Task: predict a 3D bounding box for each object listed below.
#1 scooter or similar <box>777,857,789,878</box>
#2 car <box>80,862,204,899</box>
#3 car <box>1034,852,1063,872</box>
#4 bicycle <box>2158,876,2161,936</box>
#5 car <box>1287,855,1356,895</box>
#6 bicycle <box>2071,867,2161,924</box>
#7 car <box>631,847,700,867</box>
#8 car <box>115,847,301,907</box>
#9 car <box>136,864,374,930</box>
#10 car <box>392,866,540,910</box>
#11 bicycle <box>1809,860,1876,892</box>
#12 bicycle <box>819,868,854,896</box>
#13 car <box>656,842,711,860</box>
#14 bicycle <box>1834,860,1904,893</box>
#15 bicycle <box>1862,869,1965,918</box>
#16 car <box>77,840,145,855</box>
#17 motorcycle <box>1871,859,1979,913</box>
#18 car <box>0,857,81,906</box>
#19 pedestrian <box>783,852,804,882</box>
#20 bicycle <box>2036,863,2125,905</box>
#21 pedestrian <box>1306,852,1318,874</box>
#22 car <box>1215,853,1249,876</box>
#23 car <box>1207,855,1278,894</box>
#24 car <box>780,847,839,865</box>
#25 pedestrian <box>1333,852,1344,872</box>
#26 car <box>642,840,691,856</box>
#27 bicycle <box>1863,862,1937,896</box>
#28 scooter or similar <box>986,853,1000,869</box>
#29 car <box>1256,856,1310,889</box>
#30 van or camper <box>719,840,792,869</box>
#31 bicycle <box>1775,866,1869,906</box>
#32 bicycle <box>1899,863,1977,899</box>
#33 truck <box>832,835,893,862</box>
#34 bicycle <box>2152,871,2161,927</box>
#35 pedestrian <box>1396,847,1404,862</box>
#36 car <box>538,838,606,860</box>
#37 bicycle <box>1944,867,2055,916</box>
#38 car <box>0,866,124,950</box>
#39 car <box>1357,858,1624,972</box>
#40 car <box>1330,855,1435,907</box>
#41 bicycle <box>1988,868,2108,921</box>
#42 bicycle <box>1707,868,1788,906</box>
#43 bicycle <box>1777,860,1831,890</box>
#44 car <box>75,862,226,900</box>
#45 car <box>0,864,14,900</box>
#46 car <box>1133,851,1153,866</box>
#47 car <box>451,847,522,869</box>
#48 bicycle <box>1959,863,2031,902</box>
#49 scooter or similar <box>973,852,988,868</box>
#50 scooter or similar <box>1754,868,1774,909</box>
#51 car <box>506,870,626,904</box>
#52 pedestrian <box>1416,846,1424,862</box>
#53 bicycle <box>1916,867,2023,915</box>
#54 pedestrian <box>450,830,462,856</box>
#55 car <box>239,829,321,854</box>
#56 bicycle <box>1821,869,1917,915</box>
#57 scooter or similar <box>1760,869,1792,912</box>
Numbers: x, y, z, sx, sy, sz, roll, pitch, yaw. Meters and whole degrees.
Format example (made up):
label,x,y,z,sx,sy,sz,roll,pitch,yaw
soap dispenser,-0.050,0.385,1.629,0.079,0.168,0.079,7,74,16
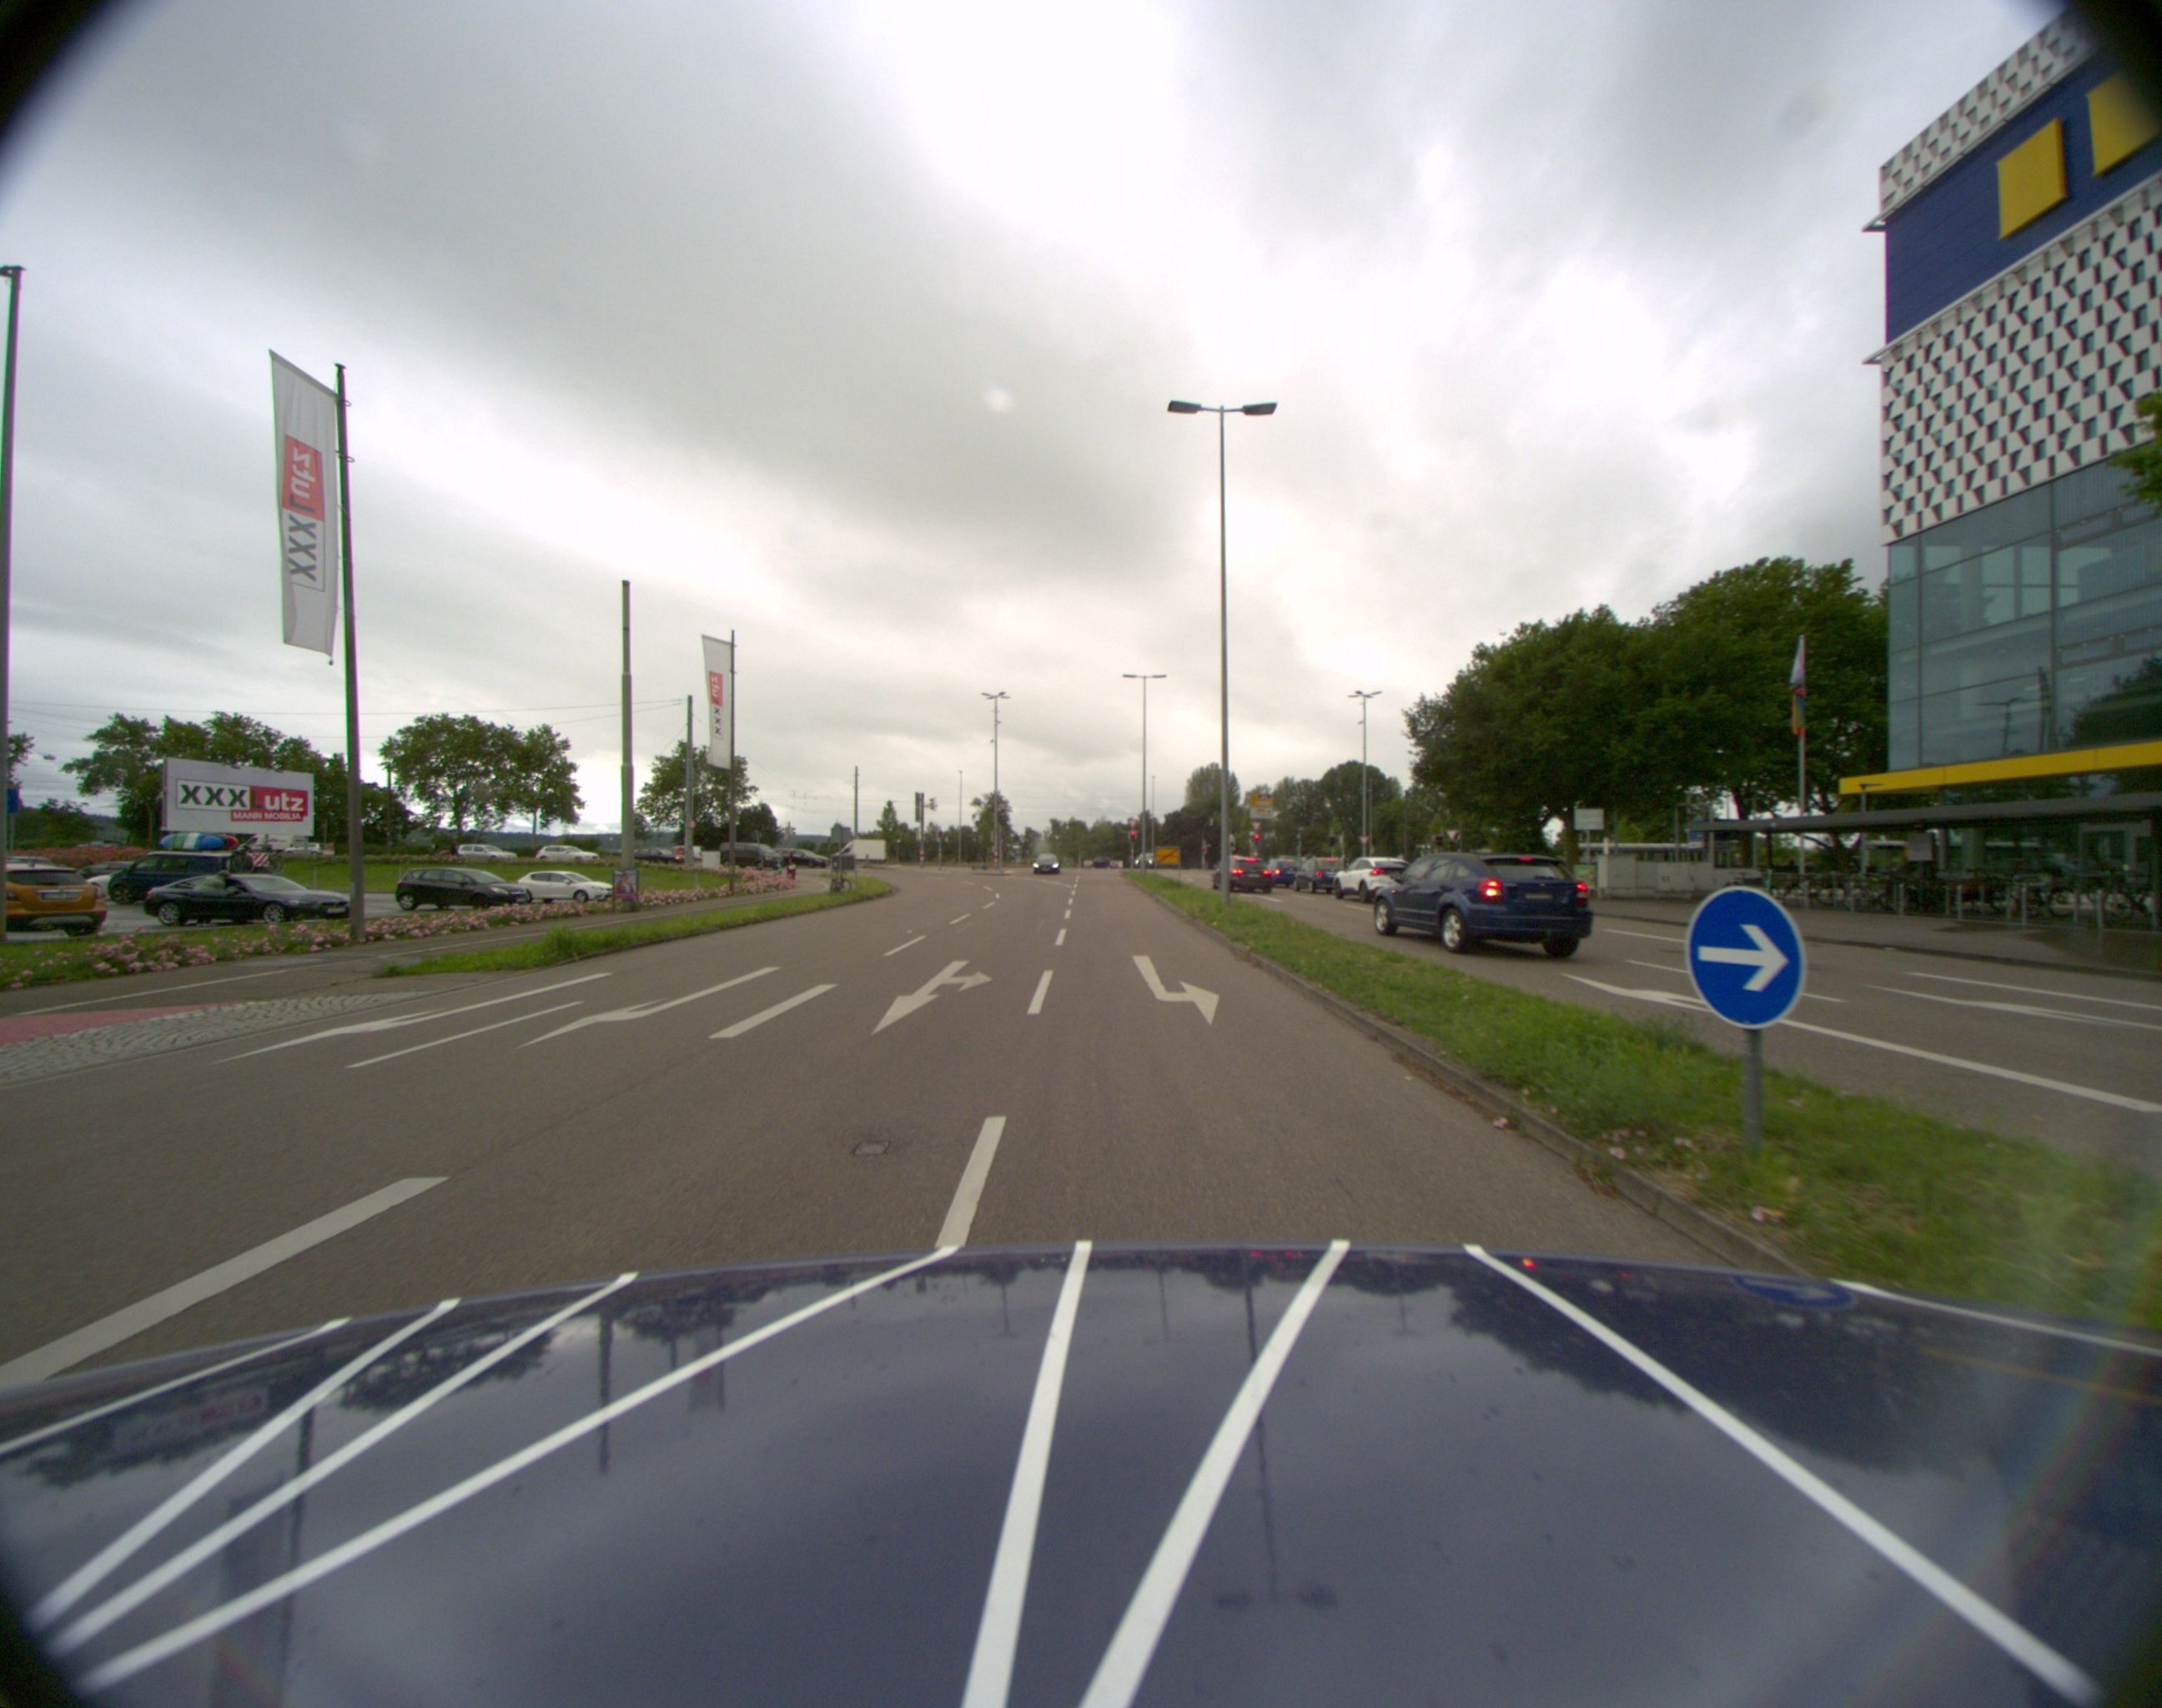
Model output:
label,x,y,z,sx,sy,sz,roll,pitch,yaw
scooter or similar,-17.725,0.785,45.183,0.347,1.226,1.162,-3,2,-37
car,-47.775,1.321,38.708,3.996,1.746,1.915,-1,0,2
car,-2.415,0.557,56.905,1.999,1.383,4.343,0,0,-1
bicycle,21.488,0.954,13.970,2.018,1.150,0.594,-2,0,15
car,10.128,0.831,32.305,1.606,1.489,4.037,2,1,0
bicycle,23.353,0.908,16.822,2.020,1.150,0.594,-2,0,1
car,-32.029,0.245,58.595,4.316,1.455,1.970,1,0,6
car,-33.064,0.821,28.864,5.045,2.152,2.123,0,1,6
car,-22.946,1.160,21.241,4.538,1.575,1.768,-1,4,-1
car,-23.182,1.279,28.764,4.103,1.573,1.770,0,-1,-2
bicycle,29.591,0.847,29.531,2.021,1.150,0.593,-2,0,-1
bicycle,-9.672,1.105,30.109,0.664,1.042,1.692,0,1,7
car,-45.181,-0.360,86.560,5.121,1.868,2.099,1,-2,-10
bicycle,29.468,0.842,28.427,2.021,1.150,0.593,-2,0,-1
bicycle,21.119,0.992,19.294,1.898,1.150,0.594,-2,0,1
car,-101.393,-0.645,79.449,4.343,1.382,1.876,1,-2,-6
motorcycle,23.383,0.872,21.058,2.500,1.347,0.799,-2,0,-11
car,-38.368,0.956,26.602,3.997,1.665,2.000,-1,0,0
pedestrian,-15.621,0.676,41.332,0.782,1.588,0.717,1,3,17
bicycle,29.418,0.879,22.379,2.021,1.150,0.593,-2,0,-5
pedestrian,18.660,0.724,61.338,0.664,1.756,0.686,3,4,-2
car,10.008,0.678,50.489,1.606,1.494,3.209,0,0,0
car,6.517,0.788,31.180,1.888,1.428,4.430,1,1,-1
car,-22.059,0.156,61.806,4.199,1.455,1.839,0,1,14
pedestrian,21.770,0.670,64.207,0.675,1.702,0.766,0,1,5
car,-44.200,-0.617,81.080,4.248,1.641,1.784,1,-2,-8
bicycle,29.441,0.889,27.322,2.021,1.150,0.593,-2,0,-1
scooter or similar,-7.185,0.547,62.058,1.016,1.249,0.465,1,2,14
car,10.142,0.895,38.471,1.606,1.436,4.143,2,1,0
van or camper,-24.394,0.009,57.016,4.743,2.003,2.126,2,3,17
bicycle,23.042,1.001,23.650,2.018,1.150,0.594,-2,0,17
bicycle,29.409,0.917,26.090,2.021,1.150,0.593,-2,0,-1
truck,-25.438,-0.624,88.862,6.545,2.905,2.826,1,-2,-10
bicycle,23.348,0.907,15.521,2.020,1.150,0.594,-2,0,1
pedestrian,34.617,0.062,82.439,0.632,1.550,0.711,0,-2,2
car,-39.459,-0.377,58.958,4.043,1.529,1.734,0,-2,1
bicycle,23.126,0.933,19.156,2.020,1.150,0.594,-2,0,1
car,-23.381,1.089,16.194,3.995,1.634,1.816,0,1,6
car,6.333,0.836,12.482,1.936,1.477,4.439,1,0,0
car,10.029,0.840,25.649,1.935,1.510,4.181,1,1,1
bicycle,22.803,0.943,17.938,2.020,1.150,0.594,-2,0,1
bicycle,20.943,1.033,23.892,2.020,1.150,0.594,-1,0,1
bicycle,29.422,0.853,30.925,2.023,1.150,0.593,-2,0,-15
car,-38.007,1.079,31.102,4.207,1.467,1.746,0,1,3
car,-47.341,1.164,31.320,3.998,1.508,1.832,0,1,-2
car,6.254,0.504,76.719,1.676,1.400,4.374,0,-2,1
car,-46.090,0.321,58.991,4.073,1.592,1.747,0,-2,-1
bicycle,29.365,0.902,24.411,2.023,1.150,0.593,-2,0,-12
scooter or similar,-8.152,0.505,61.700,1.113,1.249,0.321,1,3,14
scooter or similar,20.766,1.030,23.123,0.358,1.178,1.295,-2,0,39
car,-23.115,1.480,34.230,4.117,1.437,1.876,0,-2,0
pedestrian,36.821,-0.008,82.493,0.586,1.731,0.788,-1,-2,3
bicycle,23.208,0.952,19.863,2.020,1.150,0.594,-2,0,1
pedestrian,-43.338,-0.760,52.672,0.636,1.771,0.545,1,-2,-42
car,-89.107,-1.359,84.581,5.897,2.609,2.665,1,-2,-5
bicycle,21.106,1.014,20.375,1.898,1.150,0.594,-2,0,1
scooter or similar,19.882,1.025,21.740,0.423,1.142,1.351,-2,0,33
